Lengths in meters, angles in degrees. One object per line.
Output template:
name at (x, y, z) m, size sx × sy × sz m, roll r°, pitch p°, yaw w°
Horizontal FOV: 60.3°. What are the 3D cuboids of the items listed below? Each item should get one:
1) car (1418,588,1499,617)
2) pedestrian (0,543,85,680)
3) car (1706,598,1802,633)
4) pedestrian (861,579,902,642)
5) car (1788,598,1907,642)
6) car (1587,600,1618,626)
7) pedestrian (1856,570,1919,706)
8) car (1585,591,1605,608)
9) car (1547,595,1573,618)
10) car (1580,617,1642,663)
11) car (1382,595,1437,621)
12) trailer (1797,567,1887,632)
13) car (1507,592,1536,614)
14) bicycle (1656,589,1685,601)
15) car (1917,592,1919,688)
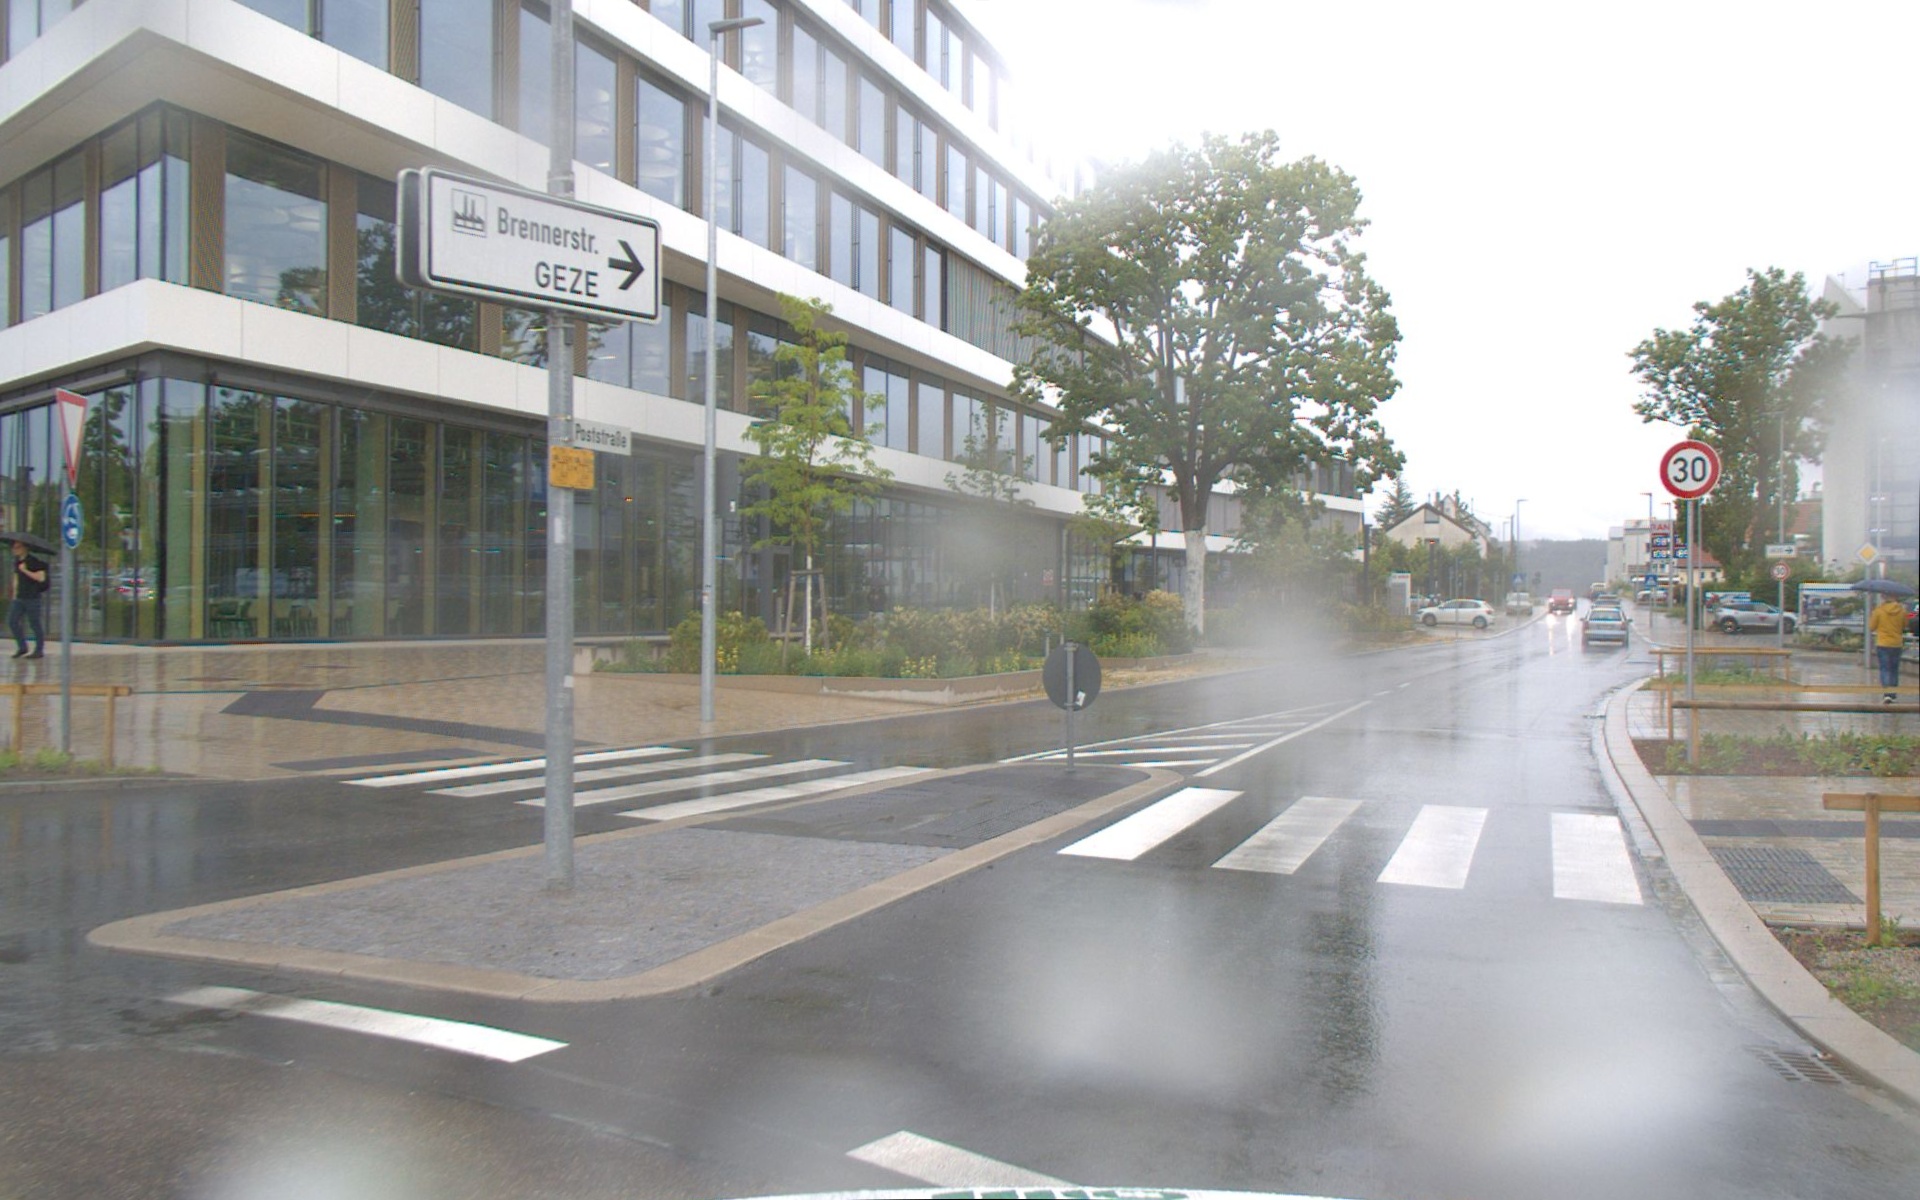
car at (25.794, 0.125, 85.593) m, size 3.848 × 1.448 × 1.898 m, roll 1°, pitch 0°, yaw 23°
pedestrian at (-14.173, 0.166, 25.406) m, size 0.872 × 2.049 × 0.932 m, roll 1°, pitch 0°, yaw 17°
car at (39.860, 0.783, 83.064) m, size 4.130 × 1.679 × 1.995 m, roll -2°, pitch -1°, yaw 32°
pedestrian at (-2.279, 0.312, 48.091) m, size 0.710 × 1.733 × 0.956 m, roll 4°, pitch 0°, yaw 25°
car at (32.318, 0.743, 60.324) m, size 3.649 × 1.556 × 1.650 m, roll -1°, pitch -1°, yaw 22°
car at (49.960, 1.026, 128.715) m, size 2.110 × 1.735 × 4.000 m, roll 4°, pitch 0°, yaw 21°
pedestrian at (14.580, 0.581, 25.764) m, size 0.841 × 2.049 × 1.195 m, roll -2°, pitch -1°, yaw 20°
car at (71.501, -0.066, 186.295) m, size 1.953 × 1.735 × 4.000 m, roll 4°, pitch 0°, yaw 21°
car at (50.105, 0.522, 138.088) m, size 1.961 × 1.849 × 4.980 m, roll 1°, pitch 0°, yaw 20°
car at (25.059, 1.539, 63.765) m, size 1.908 × 1.582 × 4.001 m, roll 4°, pitch 0°, yaw 19°
car at (41.386, 0.722, 152.429) m, size 4.653 × 2.048 × 2.001 m, roll 5°, pitch 0°, yaw 13°
trailer at (30.977, -0.034, 58.128) m, size 2.647 × 2.209 × 1.547 m, roll 1°, pitch 0°, yaw 24°
car at (43.178, 0.235, 127.150) m, size 1.952 × 1.657 × 4.153 m, roll 0°, pitch 1°, yaw 21°
bicycle at (69.916, -0.465, 162.804) m, size 0.656 × 1.085 × 3.621 m, roll 4°, pitch 0°, yaw -10°
car at (18.026, 0.631, 26.627) m, size 4.041 × 1.608 × 2.002 m, roll -1°, pitch 0°, yaw 7°
